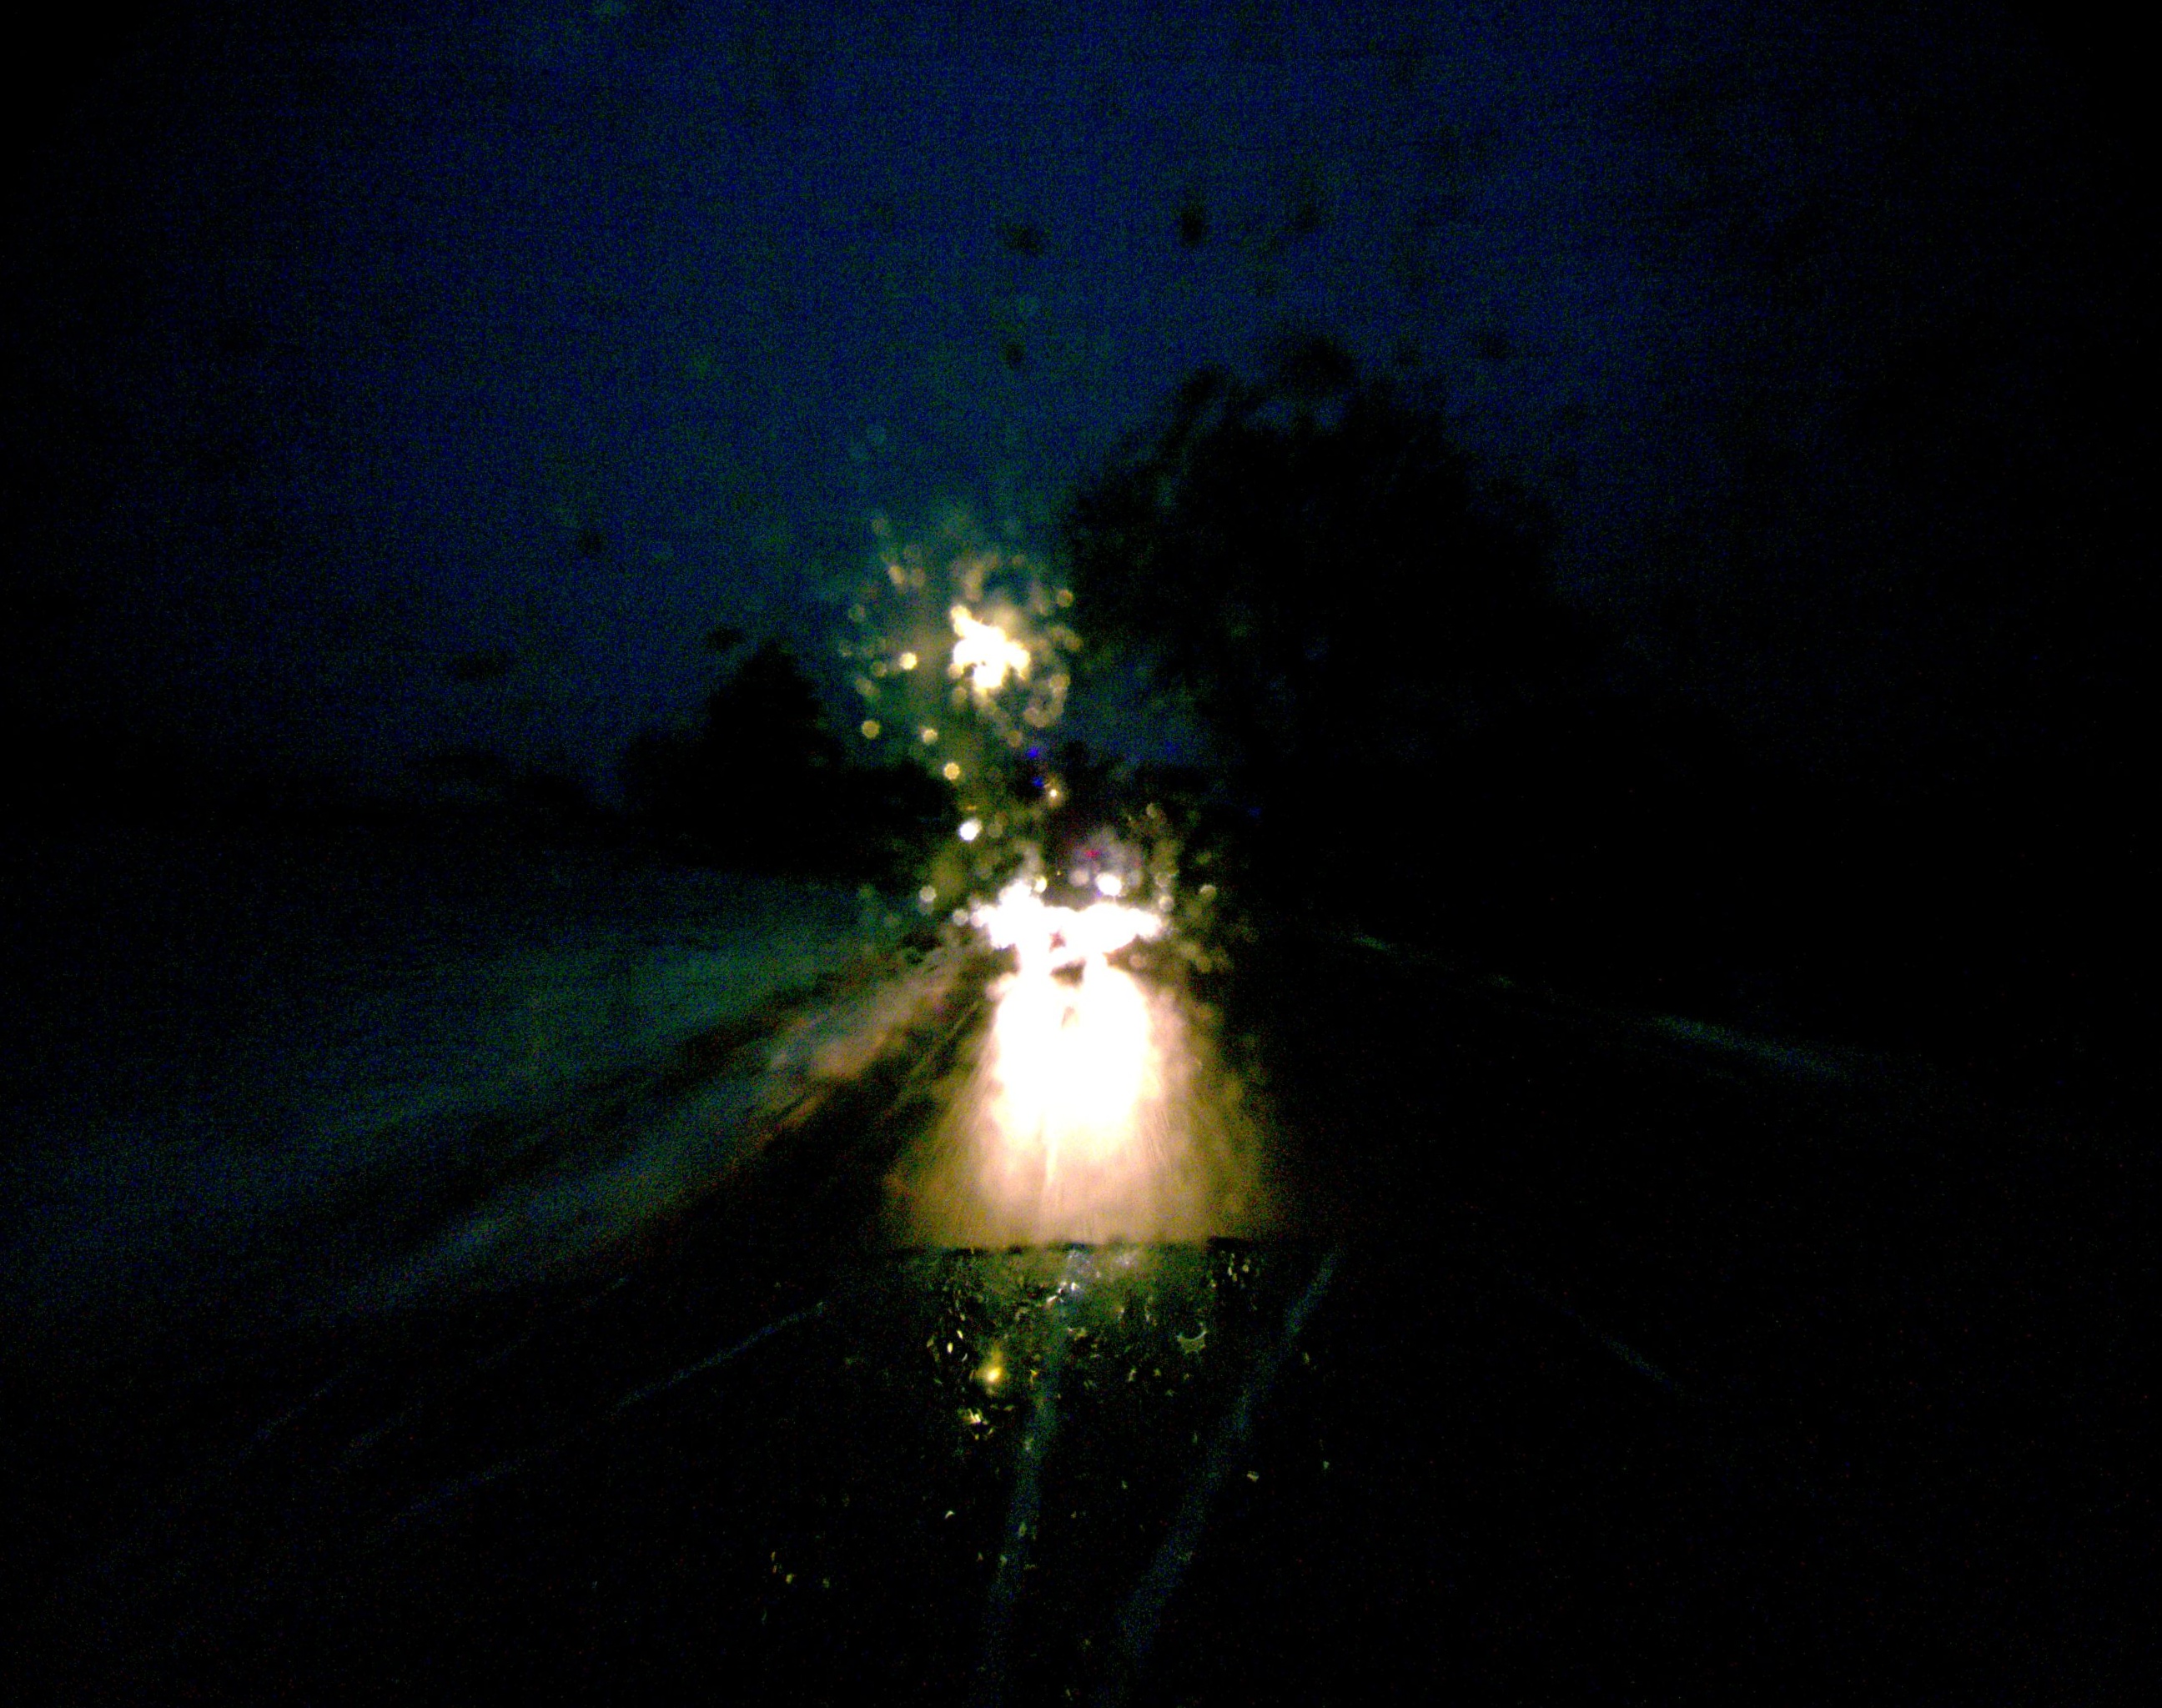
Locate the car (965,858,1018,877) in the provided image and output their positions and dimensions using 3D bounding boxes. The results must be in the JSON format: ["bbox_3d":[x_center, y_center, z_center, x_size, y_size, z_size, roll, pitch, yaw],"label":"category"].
[{"bbox_3d":[-8.206,1.259,69.648,4.403,1.647,1.864,1,-1,9],"label":"car"}]

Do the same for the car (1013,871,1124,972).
[{"bbox_3d":[-0.139,1.061,13.338,1.649,1.446,3.681,-2,0,2],"label":"car"}]
